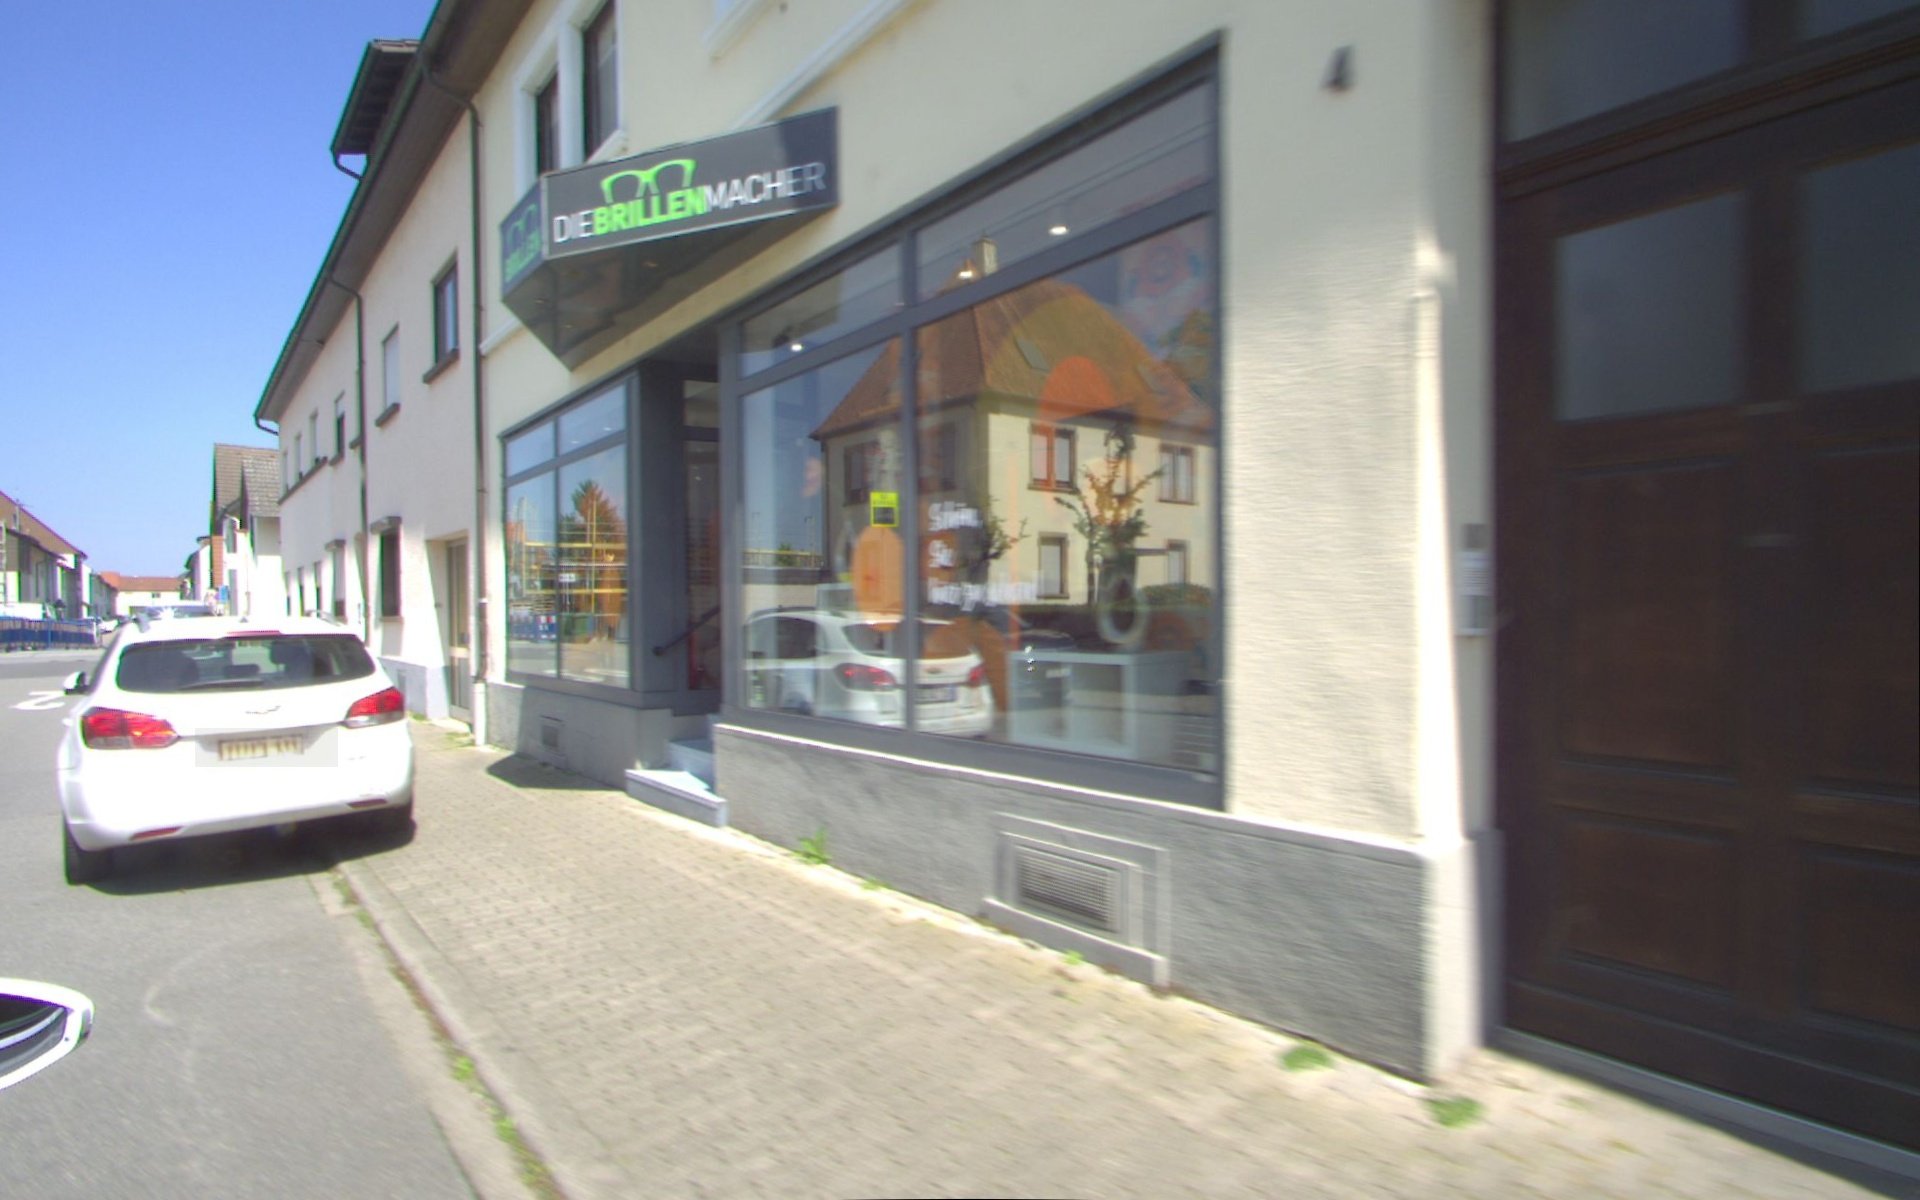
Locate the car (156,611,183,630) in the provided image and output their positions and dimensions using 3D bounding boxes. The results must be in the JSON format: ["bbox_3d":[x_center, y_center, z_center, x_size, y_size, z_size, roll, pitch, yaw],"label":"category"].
[{"bbox_3d":[-62.136,1.578,78.731,1.543,1.406,3.420,-1,1,-40],"label":"car"}]

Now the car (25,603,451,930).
[{"bbox_3d":[-5.182,0.820,7.087,1.872,1.562,4.205,-1,1,-41],"label":"car"}]

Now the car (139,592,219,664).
[{"bbox_3d":[-20.641,0.673,26.454,1.551,1.635,3.512,-1,3,-39],"label":"car"}]

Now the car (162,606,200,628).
[{"bbox_3d":[-52.564,1.113,67.583,1.950,1.406,3.969,-1,1,-38],"label":"car"}]

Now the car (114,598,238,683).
[{"bbox_3d":[-17.535,0.820,22.344,1.869,1.578,3.859,-6,4,-41],"label":"car"}]
